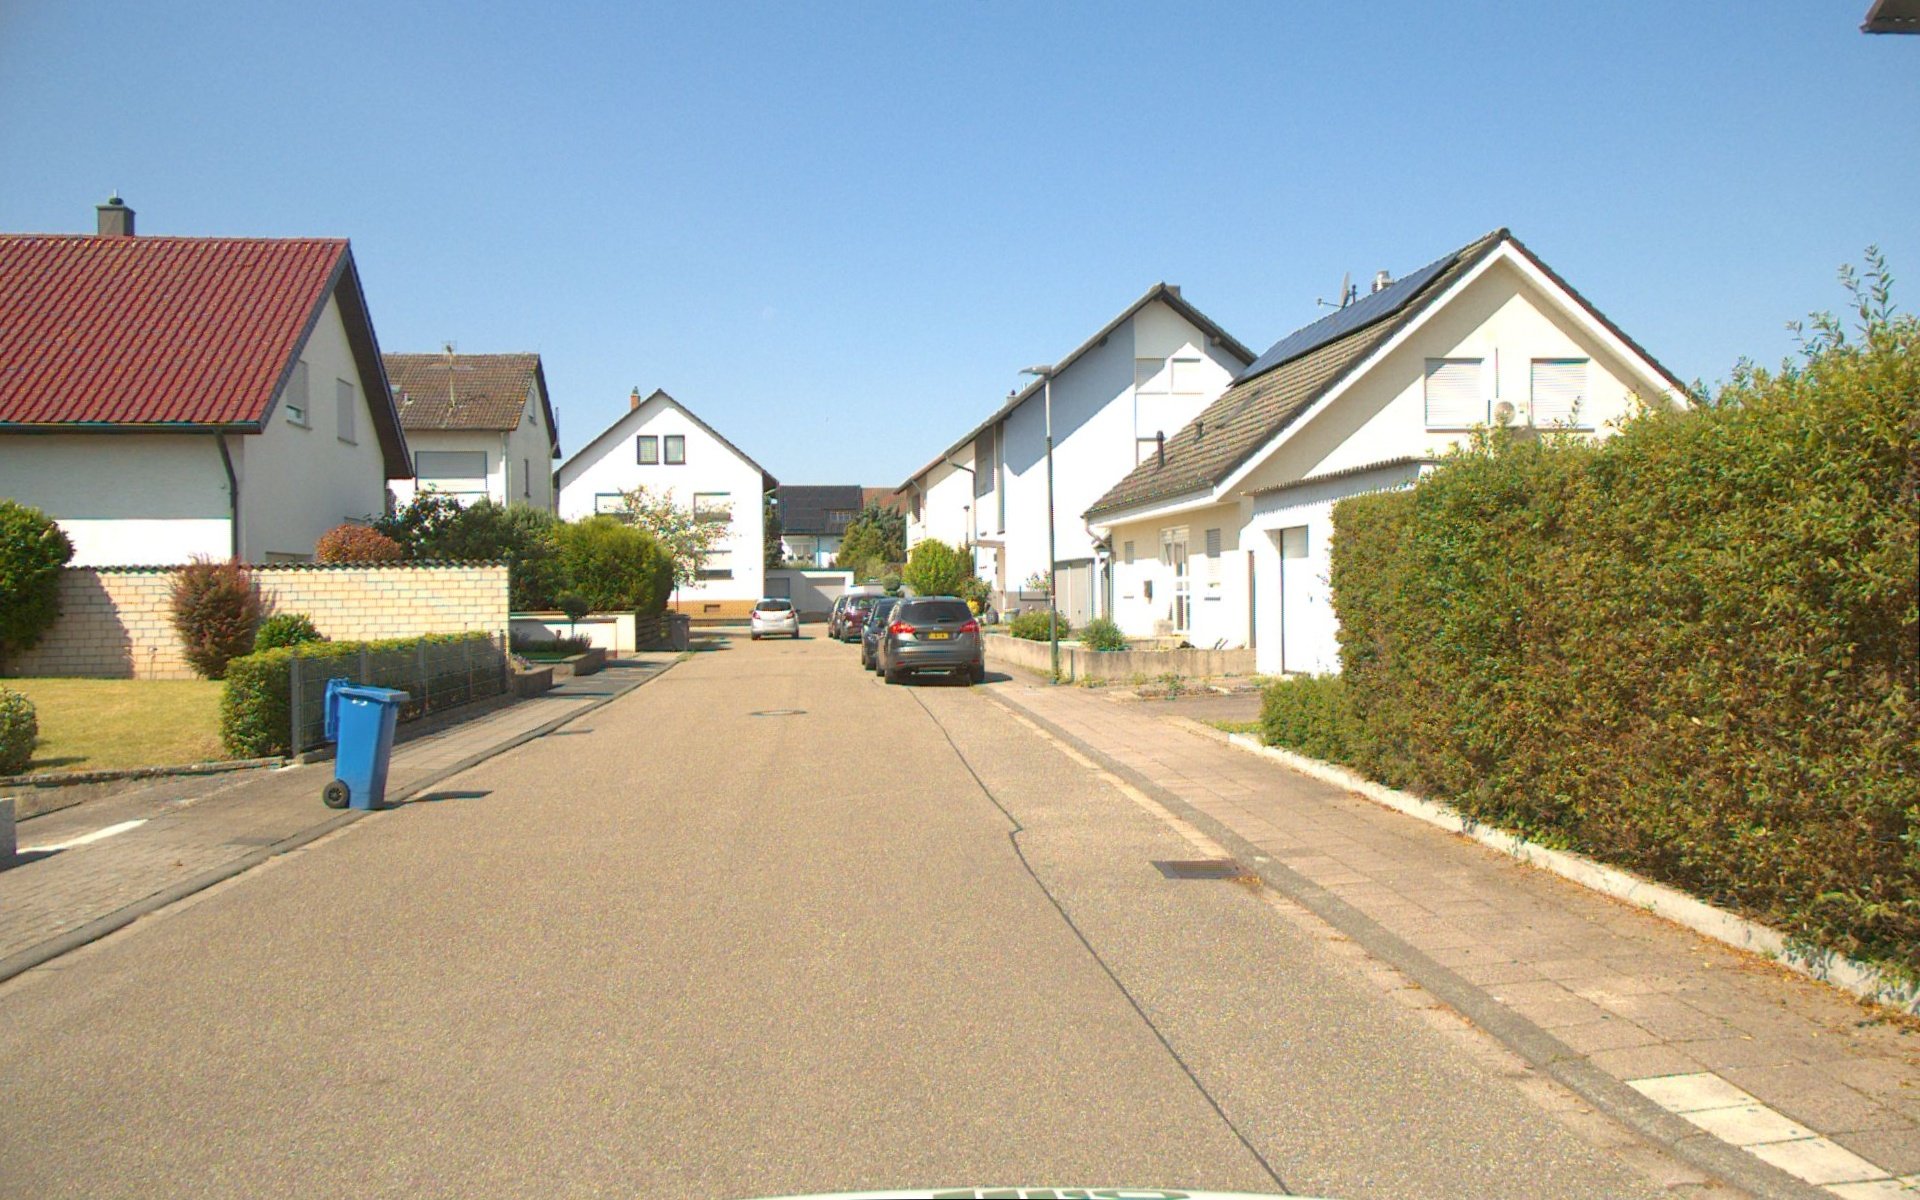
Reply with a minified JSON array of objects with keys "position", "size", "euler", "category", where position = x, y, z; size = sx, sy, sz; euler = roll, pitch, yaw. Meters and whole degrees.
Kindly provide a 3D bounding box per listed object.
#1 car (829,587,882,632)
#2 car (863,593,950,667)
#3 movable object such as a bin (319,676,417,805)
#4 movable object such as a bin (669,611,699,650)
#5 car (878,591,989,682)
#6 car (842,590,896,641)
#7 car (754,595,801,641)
[{"position":[-3.905,0.328,61.353],"size":[1.614,1.573,4.040],"euler":[-1,0,-8],"category":"car"},{"position":[-1.221,0.606,35.901],"size":[1.684,1.463,4.499],"euler":[-1,0,-4],"category":"car"},{"position":[-4.517,1.062,12.646],"size":[0.571,0.932,0.597],"euler":[0,0,-5],"category":"movable object such as a bin"},{"position":[-8.023,0.884,48.090],"size":[0.803,1.082,0.610],"euler":[-1,0,-7],"category":"movable object such as a bin"},{"position":[-0.552,0.608,30.068],"size":[1.611,1.504,3.994],"euler":[0,1,-7],"category":"car"},{"position":[-3.130,0.494,56.336],"size":[1.613,1.609,4.142],"euler":[-1,0,-6],"category":"car"},{"position":[-6.703,0.627,60.913],"size":[1.613,1.609,3.804],"euler":[-1,0,-6],"category":"car"}]
